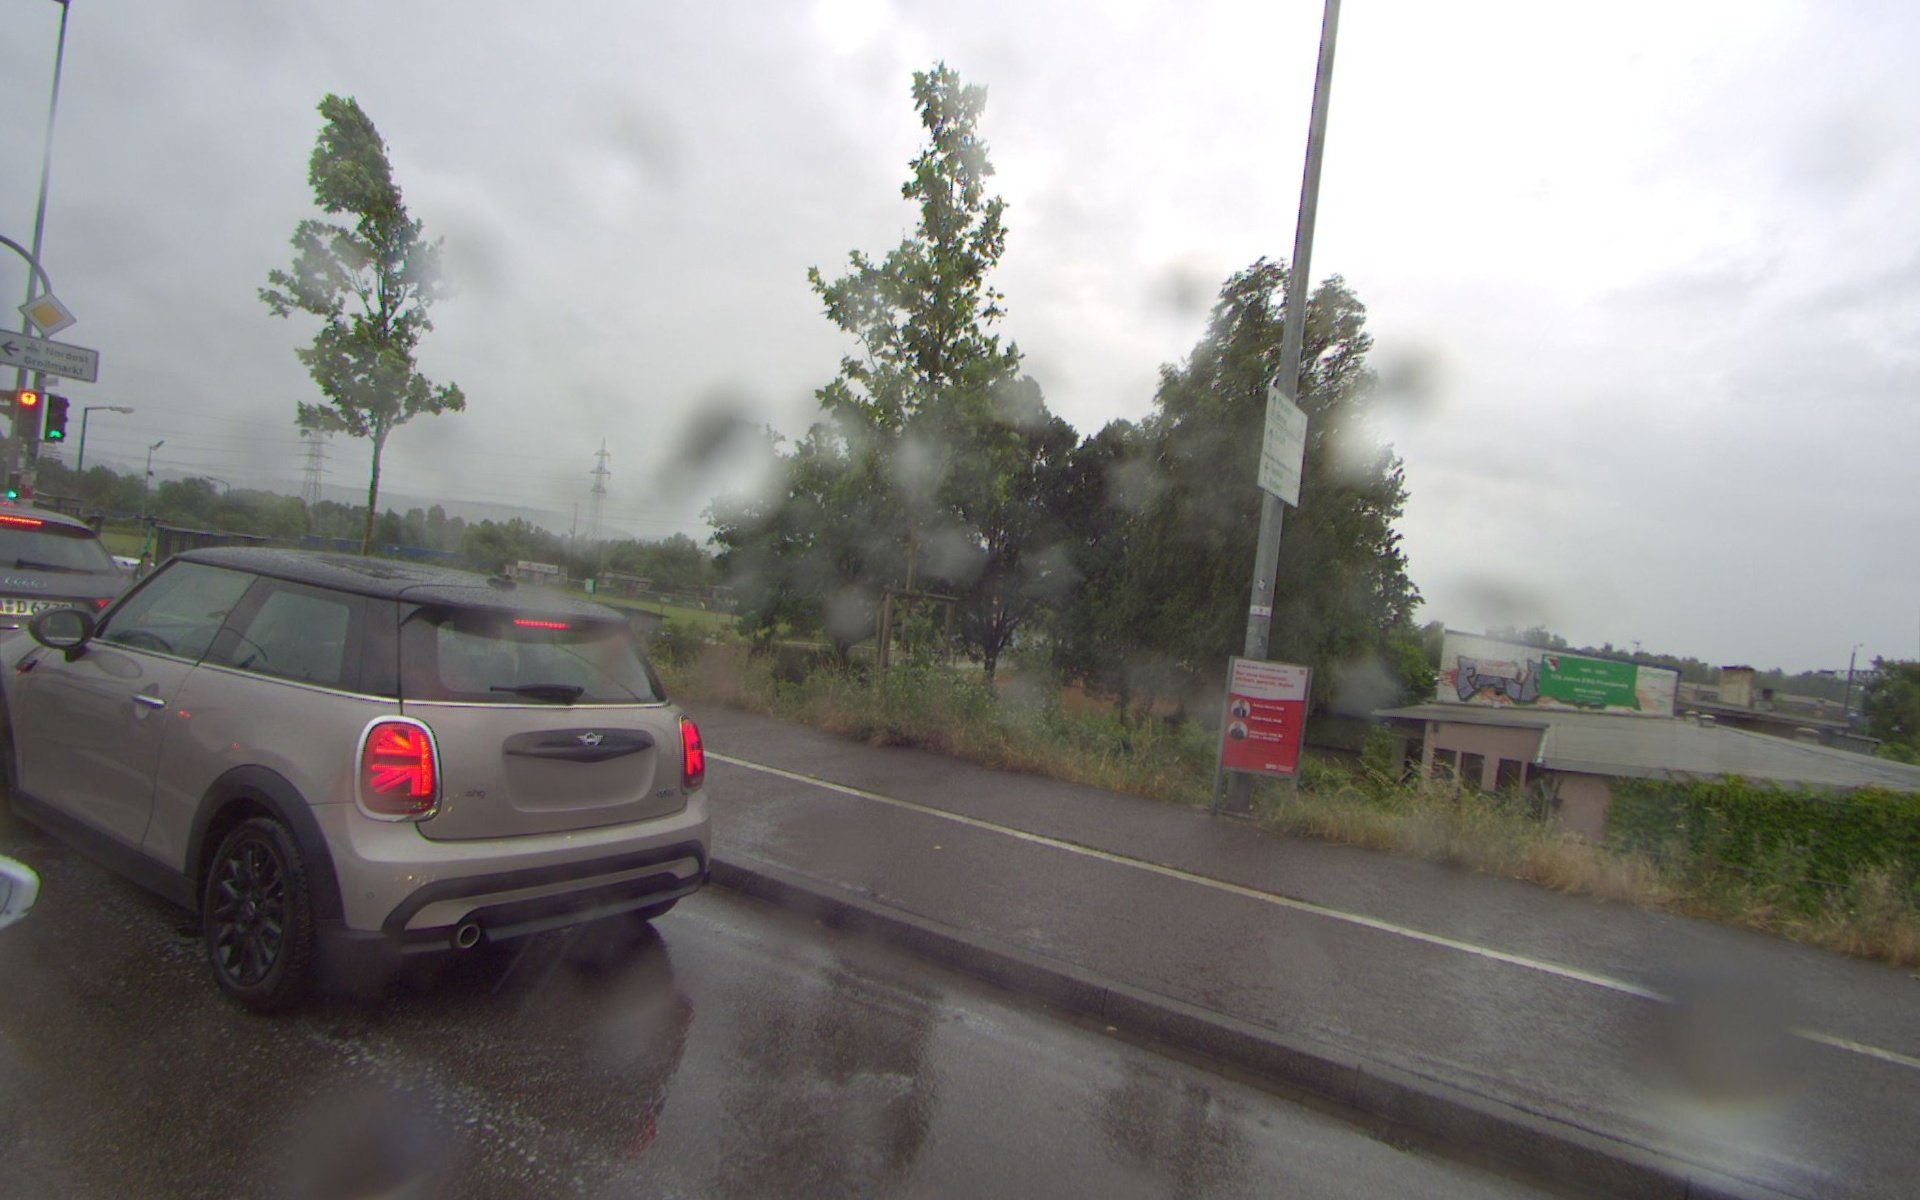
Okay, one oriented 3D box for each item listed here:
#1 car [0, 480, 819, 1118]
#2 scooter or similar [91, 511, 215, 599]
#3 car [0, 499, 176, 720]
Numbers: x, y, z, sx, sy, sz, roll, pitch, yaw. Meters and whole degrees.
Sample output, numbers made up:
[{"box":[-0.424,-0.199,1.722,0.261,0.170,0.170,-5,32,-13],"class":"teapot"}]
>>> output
[{"box":[-2.714,0.478,4.297,3.815,1.524,1.707,7,-4,32],"class":"car"},{"box":[-13.876,-0.795,17.260,2.971,1.226,0.691,7,0,33],"class":"scooter or similar"},{"box":[-7.505,-0.075,7.260,3.569,1.383,1.600,5,-1,30],"class":"car"}]
